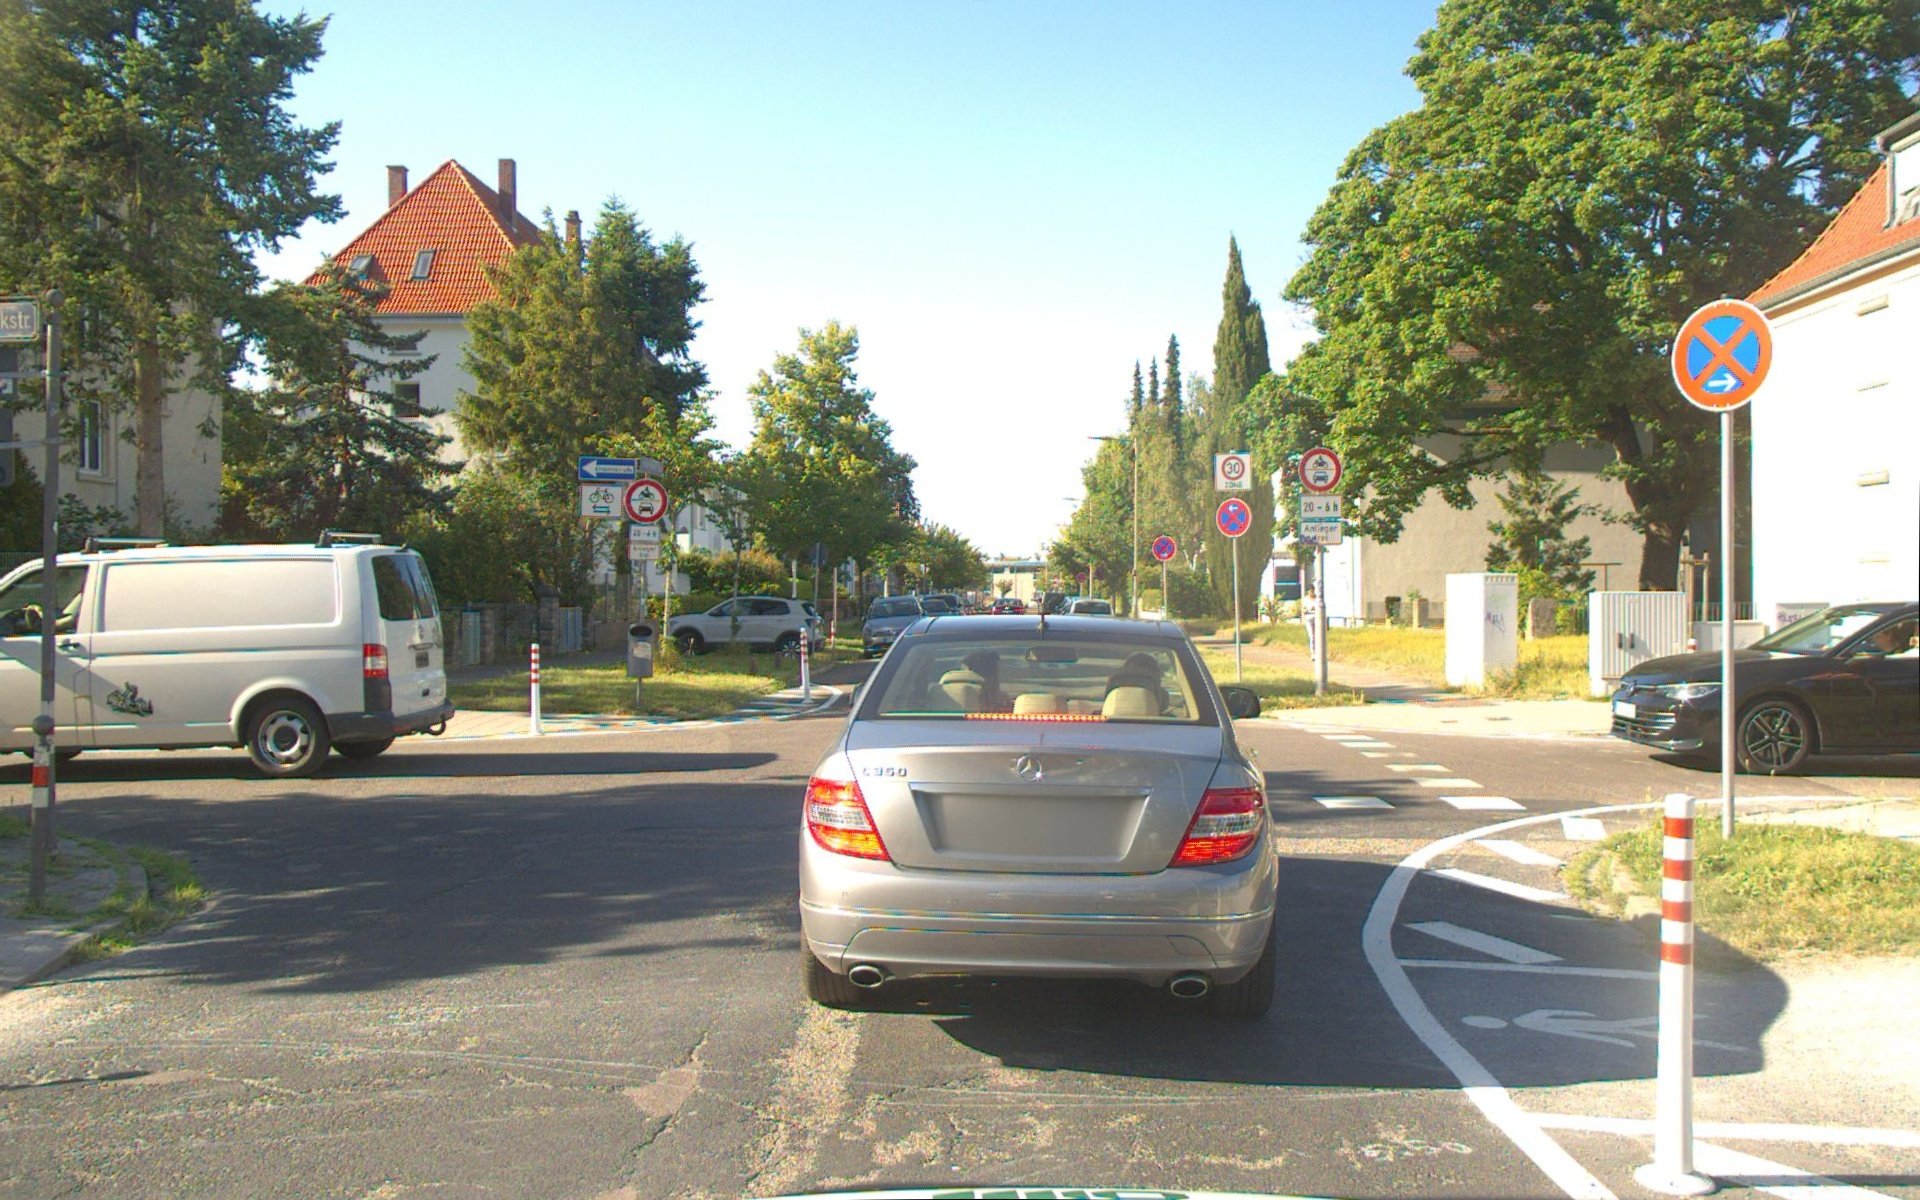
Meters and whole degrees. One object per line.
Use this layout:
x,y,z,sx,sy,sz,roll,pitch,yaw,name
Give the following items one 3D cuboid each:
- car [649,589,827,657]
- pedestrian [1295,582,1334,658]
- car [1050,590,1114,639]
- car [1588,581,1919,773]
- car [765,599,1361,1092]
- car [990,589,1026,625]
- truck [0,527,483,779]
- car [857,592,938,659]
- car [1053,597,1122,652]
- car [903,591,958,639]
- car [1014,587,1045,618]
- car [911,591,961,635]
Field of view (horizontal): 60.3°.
-5.378,0.546,40.399,4.107,1.591,1.842,0,0,-1,car
7.811,0.434,36.468,0.750,1.639,0.835,-1,0,7,pedestrian
4.261,0.478,58.339,1.953,1.638,4.000,-1,0,0,car
8.202,0.617,14.509,4.640,1.551,2.001,-1,0,4,car
0.411,0.737,7.005,1.798,1.466,4.002,0,0,3,car
2.222,0.326,77.761,1.564,1.638,3.644,-1,0,0,car
-6.994,0.451,14.893,4.757,2.071,2.001,-1,0,2,truck
-1.667,0.662,45.454,1.953,1.637,4.000,-4,0,0,car
3.630,0.678,47.616,1.698,1.505,3.725,-1,0,0,car
-1.102,0.539,63.260,1.953,1.637,4.000,-4,0,0,car
4.326,0.143,103.268,1.816,1.873,4.001,-1,0,1,car
-0.969,0.515,69.053,1.953,1.637,4.000,-4,0,0,car
